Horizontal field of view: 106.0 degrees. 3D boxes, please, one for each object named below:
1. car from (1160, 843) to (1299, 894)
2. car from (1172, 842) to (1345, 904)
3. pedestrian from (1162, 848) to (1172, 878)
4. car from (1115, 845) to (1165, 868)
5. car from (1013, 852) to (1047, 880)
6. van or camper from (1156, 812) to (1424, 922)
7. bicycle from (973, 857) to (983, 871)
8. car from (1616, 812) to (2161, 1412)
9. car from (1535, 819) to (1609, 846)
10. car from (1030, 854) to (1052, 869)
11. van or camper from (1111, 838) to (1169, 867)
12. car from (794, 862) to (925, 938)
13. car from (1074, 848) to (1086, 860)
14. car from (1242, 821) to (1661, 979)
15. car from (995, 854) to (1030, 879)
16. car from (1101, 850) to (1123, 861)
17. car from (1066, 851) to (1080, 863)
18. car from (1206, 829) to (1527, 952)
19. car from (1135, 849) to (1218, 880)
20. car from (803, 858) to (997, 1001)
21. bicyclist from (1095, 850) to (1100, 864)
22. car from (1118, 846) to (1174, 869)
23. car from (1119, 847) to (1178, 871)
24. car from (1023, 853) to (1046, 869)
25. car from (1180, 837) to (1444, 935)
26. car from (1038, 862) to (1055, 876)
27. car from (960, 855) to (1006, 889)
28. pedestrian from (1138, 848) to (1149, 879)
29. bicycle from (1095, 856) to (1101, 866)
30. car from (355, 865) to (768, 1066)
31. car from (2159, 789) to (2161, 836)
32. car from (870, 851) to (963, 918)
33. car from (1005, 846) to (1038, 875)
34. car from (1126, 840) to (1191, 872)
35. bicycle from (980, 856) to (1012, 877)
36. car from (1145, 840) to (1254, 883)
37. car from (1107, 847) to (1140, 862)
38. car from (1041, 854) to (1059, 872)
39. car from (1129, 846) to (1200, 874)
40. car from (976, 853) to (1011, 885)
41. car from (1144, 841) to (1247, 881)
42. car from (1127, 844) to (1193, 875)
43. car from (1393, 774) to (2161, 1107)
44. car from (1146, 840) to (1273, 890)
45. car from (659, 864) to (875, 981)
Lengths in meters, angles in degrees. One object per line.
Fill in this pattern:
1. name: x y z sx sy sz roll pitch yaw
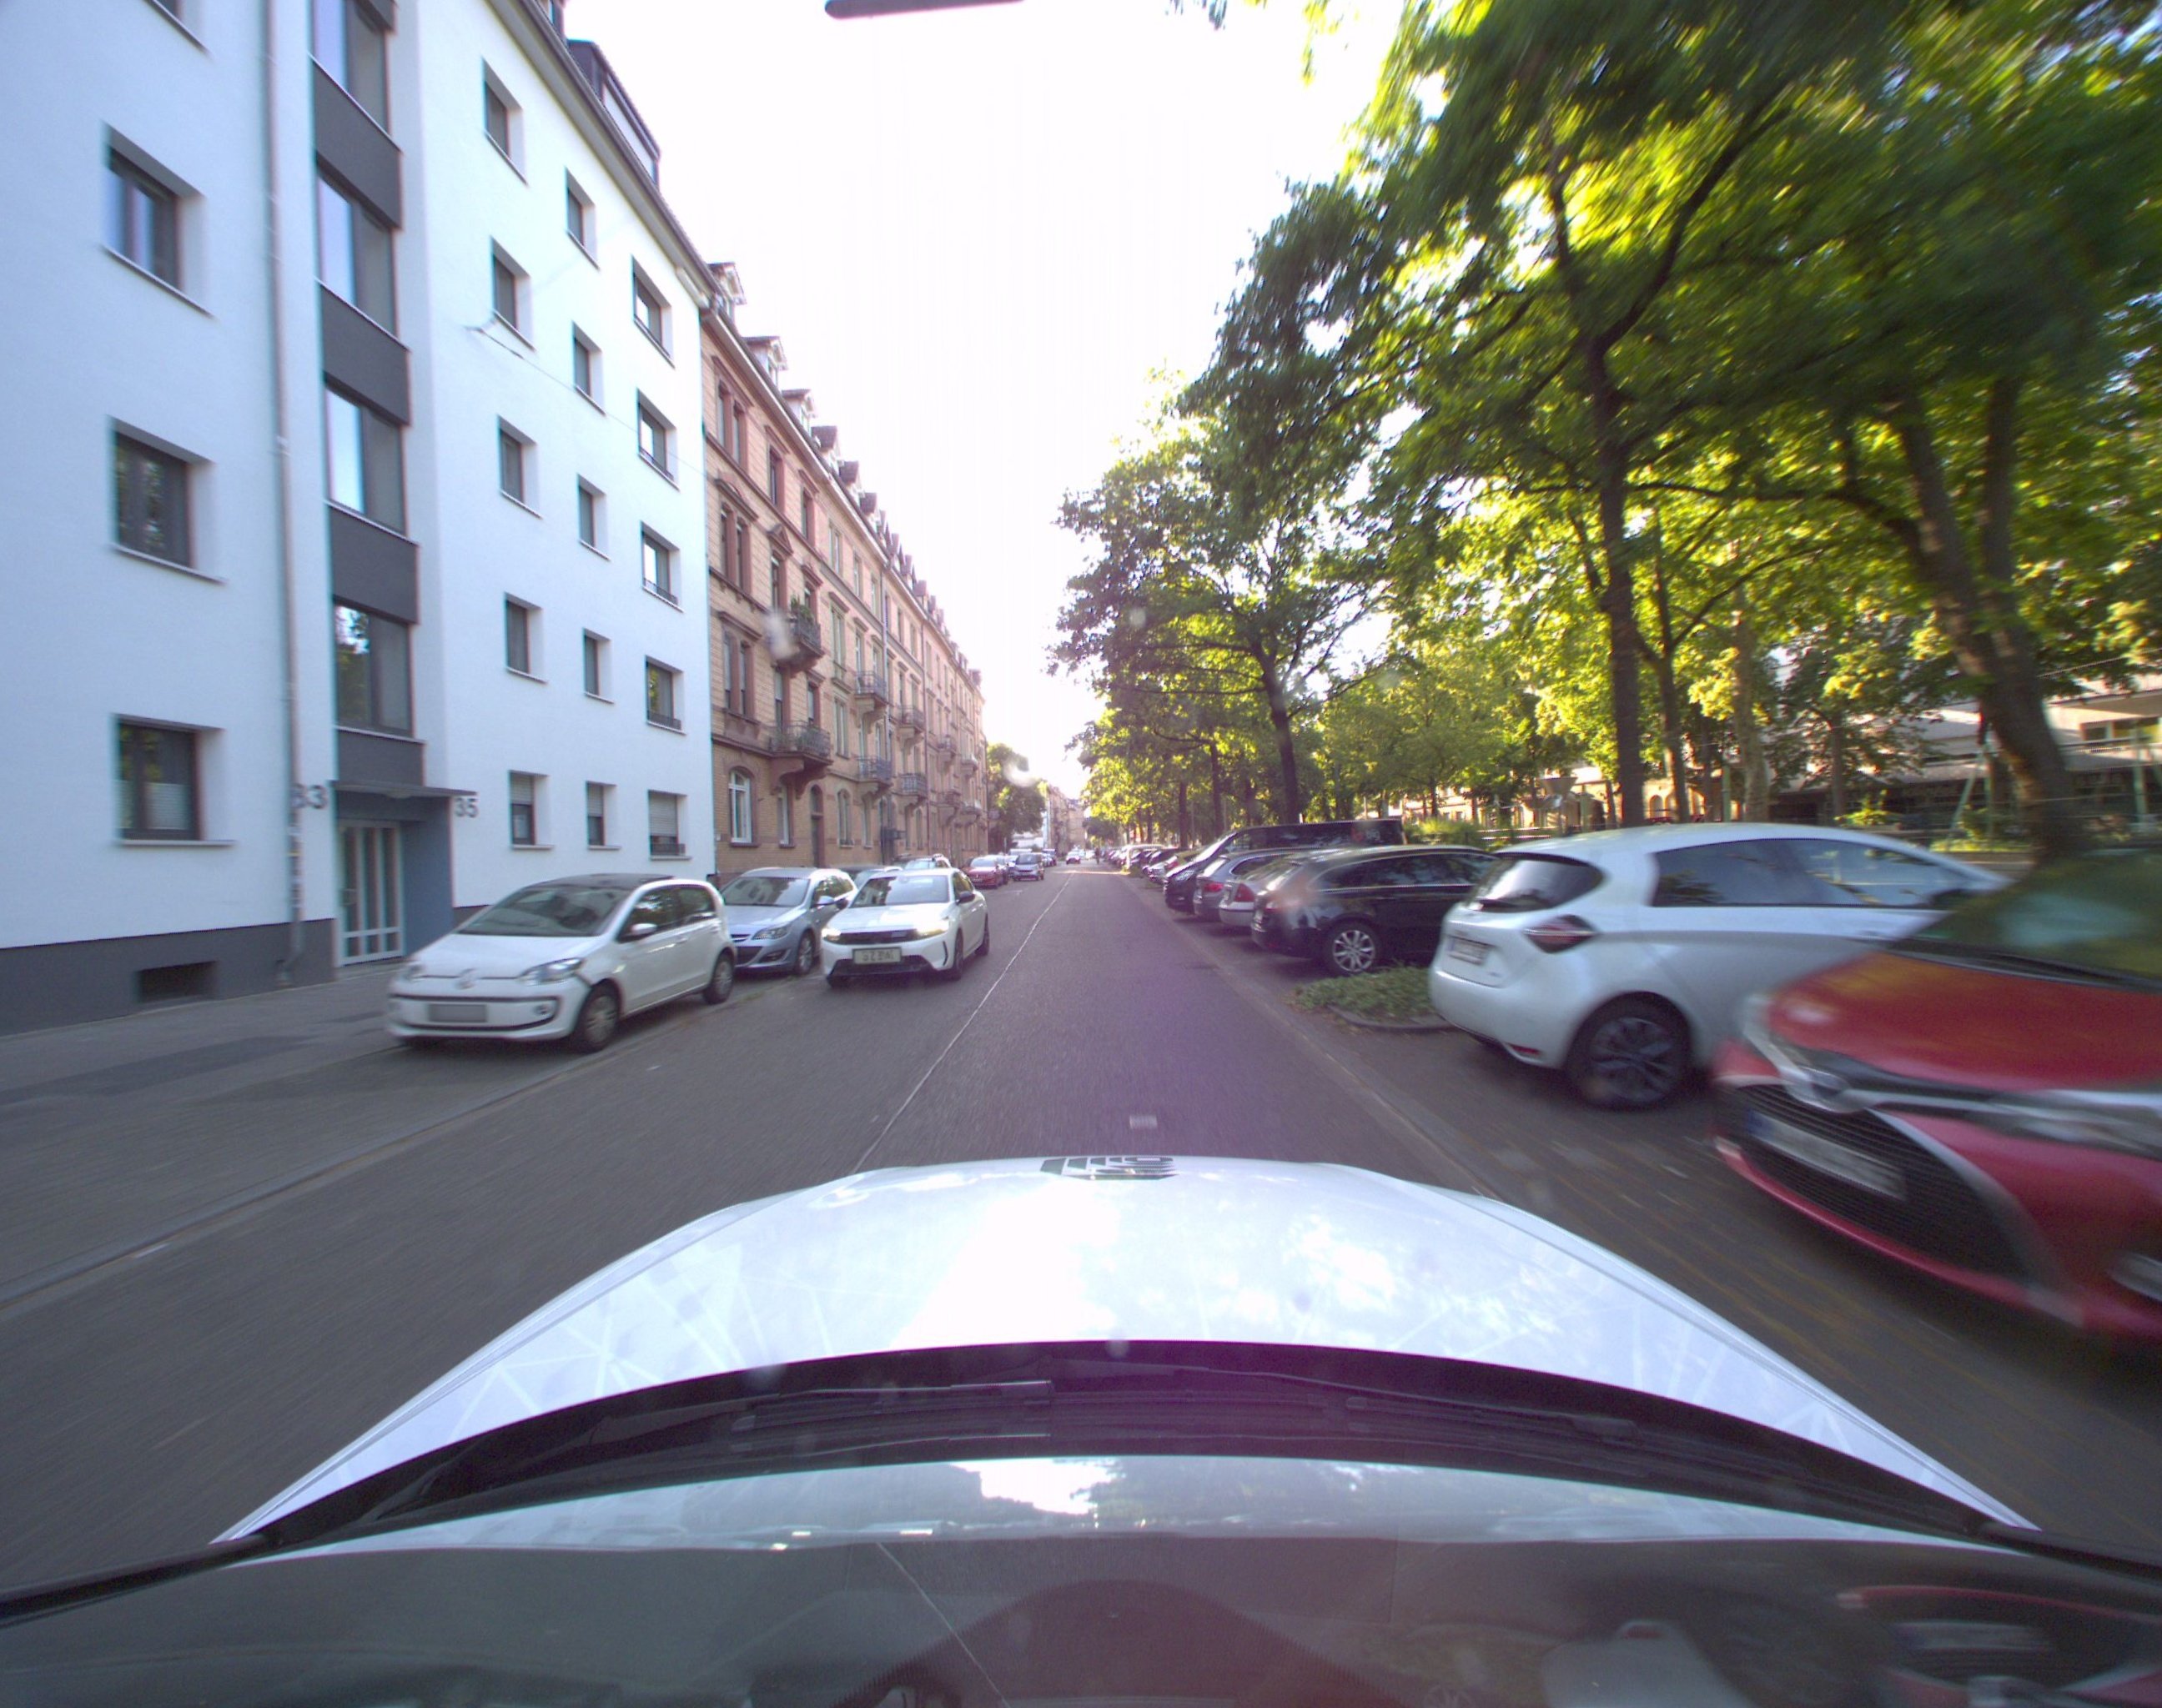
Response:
1. car: 4.952 0.497 27.666 4.381 1.440 1.839 -3 -1 2
2. car: 4.879 0.520 22.828 4.386 1.440 1.837 -3 -1 -1
3. pedestrian: 4.468 0.444 42.333 0.377 1.516 0.521 -2 2 20
4. car: 4.875 0.197 68.017 3.972 1.691 1.860 -4 0 1
5. car: -2.894 0.677 46.579 1.497 1.435 2.757 -3 0 5
6. van or camper: 4.464 0.268 18.080 5.392 2.027 2.031 -3 1 2
7. bicycle: -8.539 0.848 67.555 0.703 1.147 1.888 -1 -2 -2
8. car: 4.315 0.566 2.798 3.766 1.473 1.665 -3 -2 2
9. car: 34.521 -1.510 57.370 3.974 1.684 2.000 -1 -2 0
10. car: -4.137 0.735 84.701 1.749 1.466 4.272 -1 0 4
11. van or camper: 5.218 -0.130 72.577 4.967 2.377 2.183 -1 -2 -2
12. car: -4.771 0.931 18.121 1.609 1.451 4.003 0 0 3
13. car: -0.184 0.021 134.977 1.987 1.838 3.998 -1 -2 -1
14. car: 4.328 0.558 10.108 4.378 1.577 1.667 -3 -2 5
15. car: -4.323 0.768 52.061 1.668 1.454 4.211 -3 0 1
16. car: 6.051 0.216 160.348 3.960 2.014 2.006 -1 -2 12
17. car: -0.991 0.386 102.946 1.663 1.464 3.999 -3 0 0
18. car: 4.281 0.554 12.743 4.381 1.577 1.665 -3 -2 2
19. car: 4.618 0.504 39.716 3.831 1.279 1.690 -3 0 -1
20. car: -2.331 0.899 11.568 1.662 1.430 4.002 -5 1 1
21. bicyclist: 1.920 0.333 95.023 0.625 1.573 0.802 -1 -2 -1
22. car: 4.978 0.287 62.938 4.204 1.453 1.865 -4 0 1
23. car: 4.998 0.329 60.042 4.200 1.453 1.651 -4 0 4
24. car: -4.194 0.619 74.166 1.697 1.429 3.879 0 0 2
25. car: 4.222 0.586 15.376 4.389 1.501 1.836 -3 -2 -3
26. car: -3.954 1.740 93.356 1.750 1.466 4.267 -1 0 0
27. car: -4.525 0.802 38.001 1.748 1.464 3.998 0 0 -1
28. pedestrian: 3.251 0.509 42.518 0.377 1.584 0.521 -2 2 20
29. bicycle: 1.928 0.828 95.024 0.639 1.100 1.943 -1 -2 0
30. car: -4.884 0.913 8.456 1.663 1.508 4.000 1 0 0
31. car: 47.735 -1.856 32.848 2.000 2.014 4.707 -1 -2 -20
32. car: -4.601 0.788 23.408 1.746 1.706 4.200 -1 0 0
33. car: -4.201 0.481 57.976 1.987 1.921 5.038 -1 -2 0
34. car: 5.230 0.129 55.369 4.204 1.864 1.762 -4 0 1
35. bicycle: -4.990 0.725 47.860 1.757 1.215 0.428 -1 -2 0
36. car: 5.061 0.309 35.201 4.383 1.591 1.838 -3 -1 1
37. car: 5.332 0.073 102.858 3.977 1.794 1.857 -1 -2 -3
38. car: -3.785 1.070 98.893 1.951 2.018 4.267 -1 0 0
39. car: 5.068 0.353 49.909 4.071 1.442 1.760 -4 0 -2
40. car: -4.569 0.752 42.843 1.744 1.546 4.144 -1 0 -5
41. car: 5.255 0.329 37.801 4.391 1.591 1.835 -3 -1 -5
42. car: 4.580 0.325 47.569 3.661 1.501 1.762 -4 0 1
43. car: 4.268 0.492 5.318 3.769 1.646 1.664 -3 -2 1
44. car: 4.721 0.406 30.425 4.385 1.591 1.837 -3 -1 0
45. car: -4.721 0.934 12.982 1.662 1.471 4.285 1 0 1
